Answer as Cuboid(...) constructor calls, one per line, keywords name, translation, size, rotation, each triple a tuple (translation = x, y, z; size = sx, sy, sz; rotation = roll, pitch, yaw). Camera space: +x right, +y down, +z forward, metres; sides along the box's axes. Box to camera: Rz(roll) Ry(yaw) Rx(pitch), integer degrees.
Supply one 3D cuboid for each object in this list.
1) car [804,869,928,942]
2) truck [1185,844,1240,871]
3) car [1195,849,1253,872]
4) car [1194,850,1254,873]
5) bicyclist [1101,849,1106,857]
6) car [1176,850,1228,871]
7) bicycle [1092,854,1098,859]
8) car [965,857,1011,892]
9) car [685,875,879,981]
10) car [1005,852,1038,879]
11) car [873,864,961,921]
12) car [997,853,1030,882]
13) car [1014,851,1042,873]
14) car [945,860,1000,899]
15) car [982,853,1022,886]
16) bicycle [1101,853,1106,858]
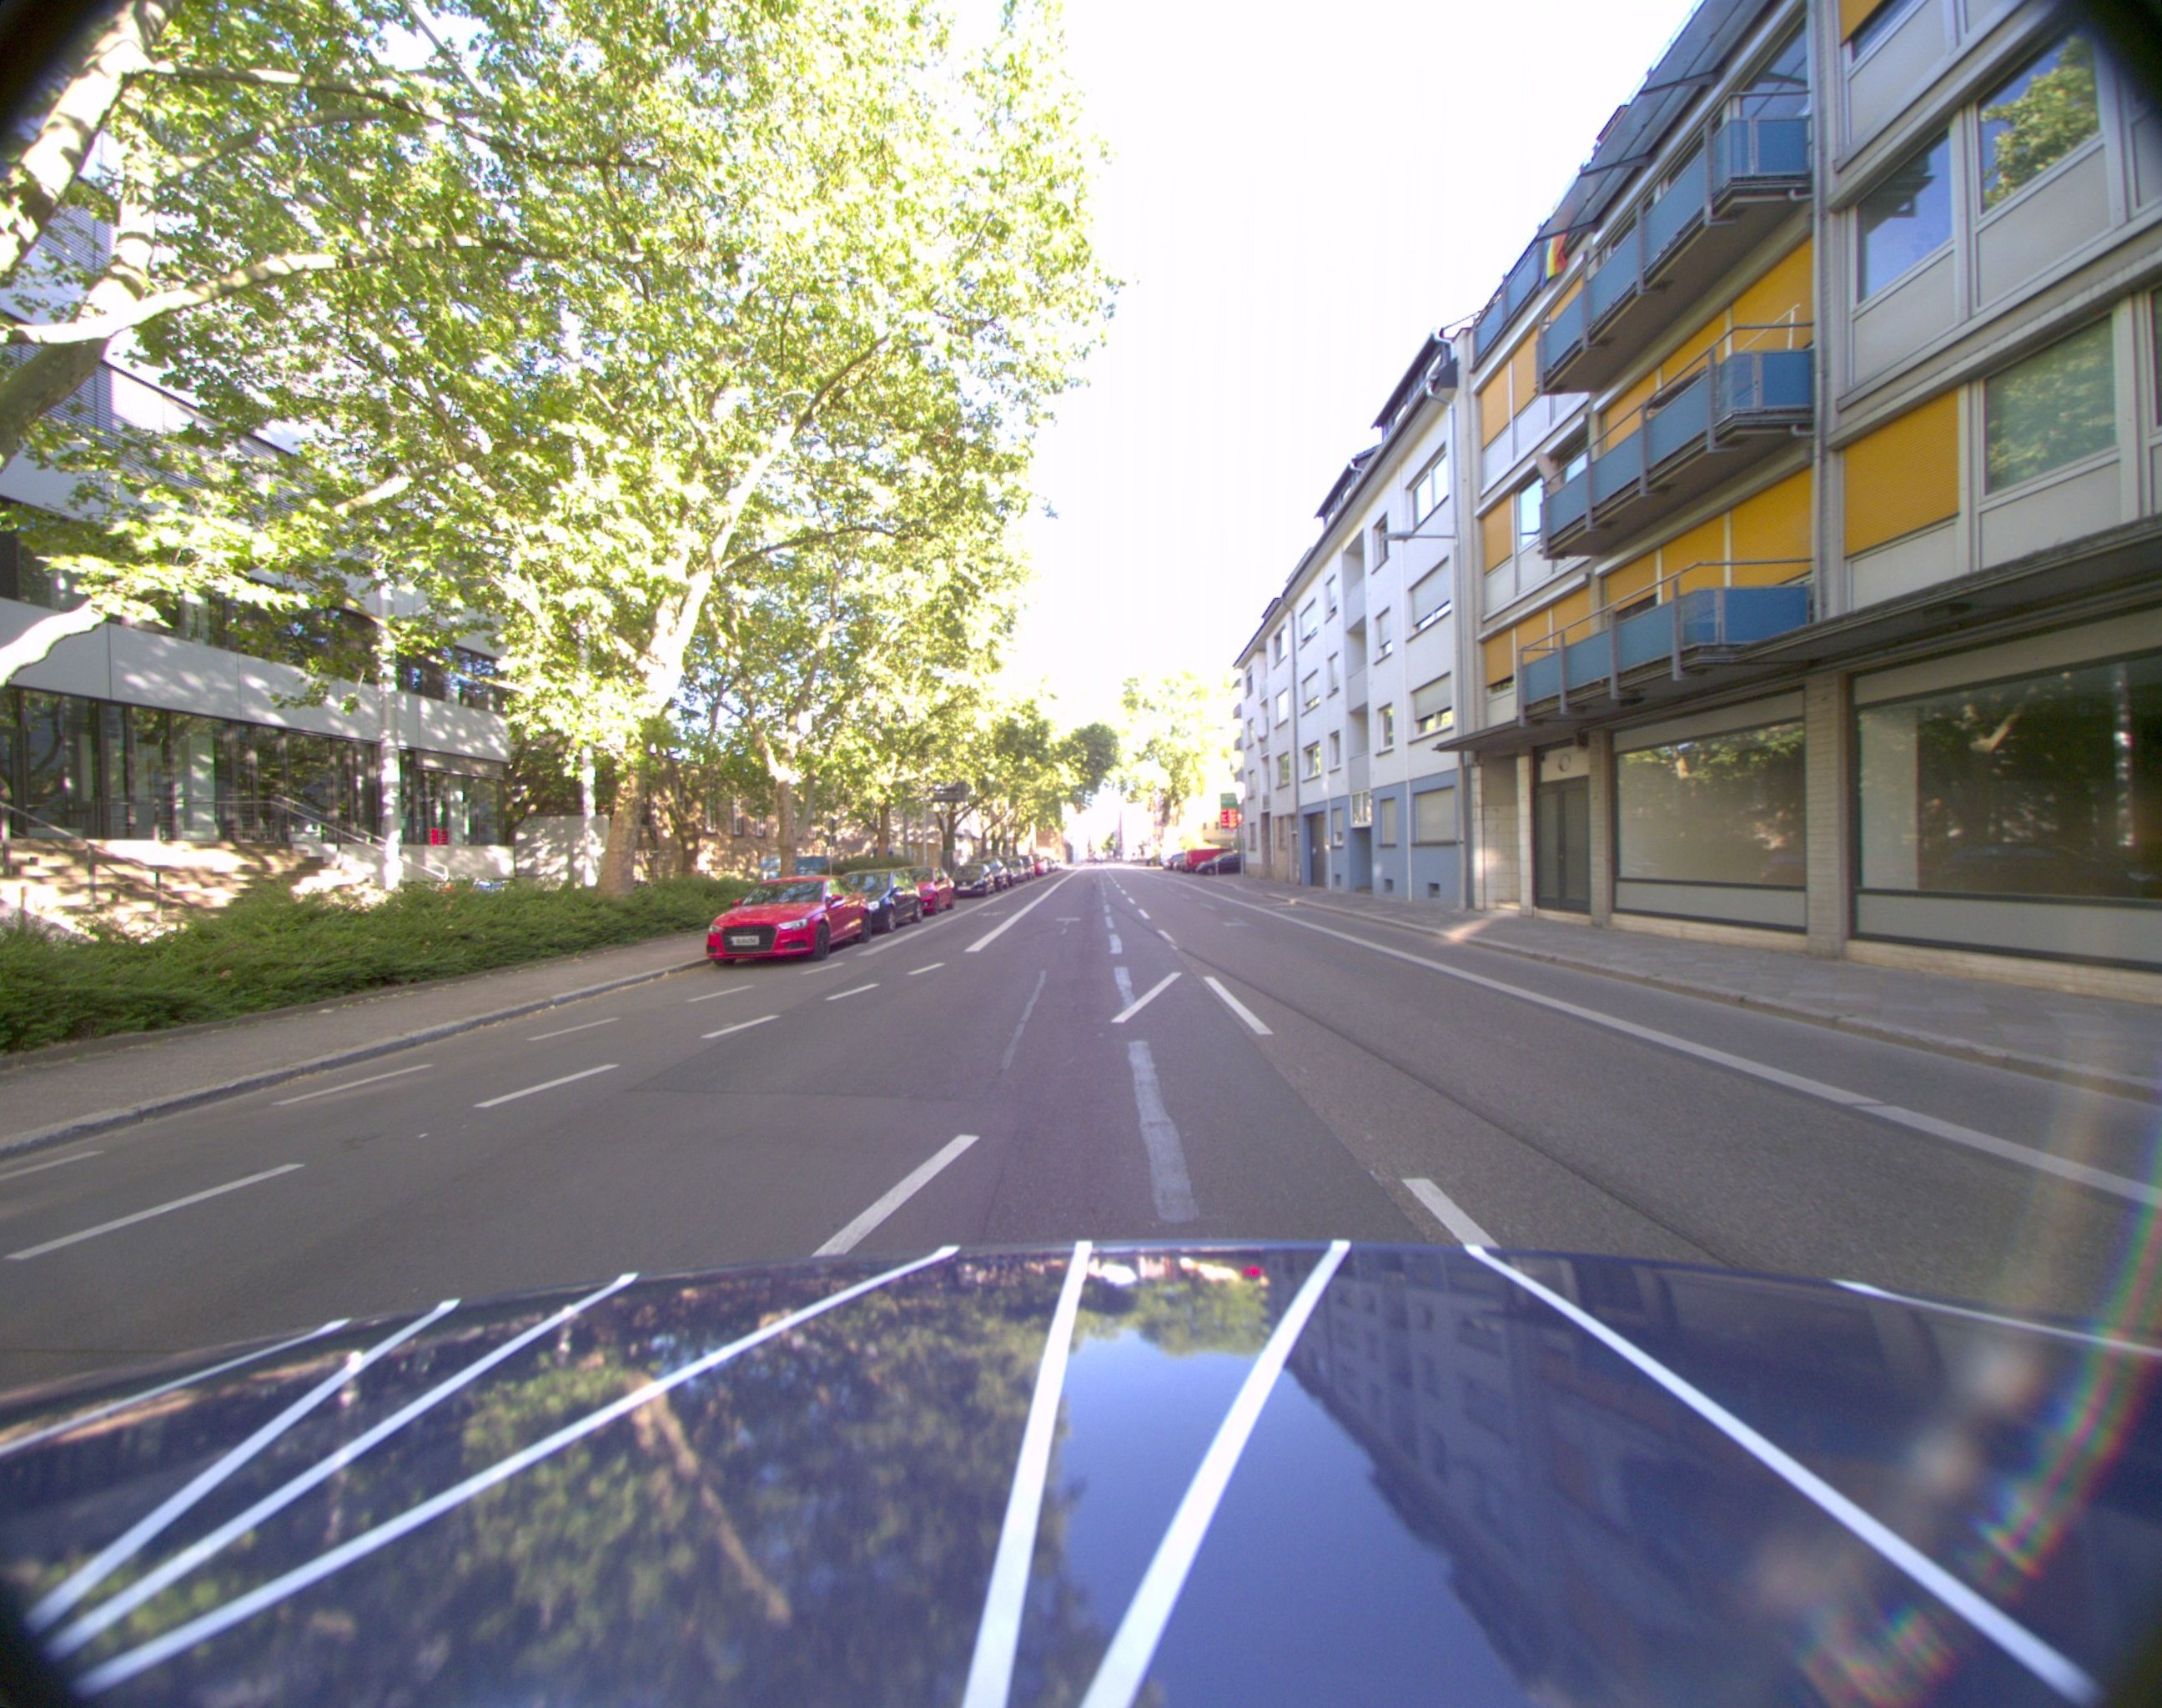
Cuboid(name="car", translation=(-5.083, 1.171, 18.591), size=(1.818, 1.405, 4.163), rotation=(-3, 0, 0))
Cuboid(name="truck", translation=(10.366, 0.248, 60.007), size=(3.996, 1.925, 1.761), rotation=(-2, 1, 2))
Cuboid(name="car", translation=(10.726, 0.482, 57.157), size=(3.996, 1.494, 1.761), rotation=(-2, 1, 2))
Cuboid(name="car", translation=(10.253, 0.549, 54.810), size=(3.996, 1.449, 1.761), rotation=(-2, 1, 2))
Cuboid(name="bicyclist", translation=(4.908, -0.182, 164.934), size=(0.717, 1.573, 0.937), rotation=(-2, 1, 13))
Cuboid(name="car", translation=(9.976, 0.529, 62.860), size=(3.996, 1.494, 1.761), rotation=(-2, 1, 2))
Cuboid(name="bicycle", translation=(3.034, 0.481, 163.048), size=(0.717, 1.052, 2.487), rotation=(-2, 1, 12))
Cuboid(name="car", translation=(-4.602, 0.979, 38.147), size=(1.790, 1.544, 4.163), rotation=(-3, 0, 0))
Cuboid(name="car", translation=(-5.139, 1.193, 13.735), size=(1.818, 1.405, 4.163), rotation=(-3, 0, 0))
Cuboid(name="car", translation=(-4.318, 0.798, 55.677), size=(2.042, 1.745, 4.552), rotation=(-3, 0, 0))
Cuboid(name="car", translation=(-5.031, 1.125, 23.874), size=(1.818, 1.475, 4.163), rotation=(-3, 0, 0))
Cuboid(name="car", translation=(-4.447, 0.853, 50.719), size=(1.790, 1.745, 4.552), rotation=(-3, 0, 0))
Cuboid(name="car", translation=(-4.593, 0.701, 66.108), size=(2.042, 1.745, 4.552), rotation=(-3, 0, 0))
Cuboid(name="car", translation=(-4.703, 1.078, 33.401), size=(1.790, 1.451, 4.163), rotation=(-3, 0, 0))
Cuboid(name="car", translation=(-4.525, 0.870, 44.164), size=(1.790, 1.745, 4.345), rotation=(-3, 0, 0))
Cuboid(name="bicycle", translation=(4.943, 0.396, 165.005), size=(0.717, 1.052, 2.487), rotation=(-2, 1, 12))
